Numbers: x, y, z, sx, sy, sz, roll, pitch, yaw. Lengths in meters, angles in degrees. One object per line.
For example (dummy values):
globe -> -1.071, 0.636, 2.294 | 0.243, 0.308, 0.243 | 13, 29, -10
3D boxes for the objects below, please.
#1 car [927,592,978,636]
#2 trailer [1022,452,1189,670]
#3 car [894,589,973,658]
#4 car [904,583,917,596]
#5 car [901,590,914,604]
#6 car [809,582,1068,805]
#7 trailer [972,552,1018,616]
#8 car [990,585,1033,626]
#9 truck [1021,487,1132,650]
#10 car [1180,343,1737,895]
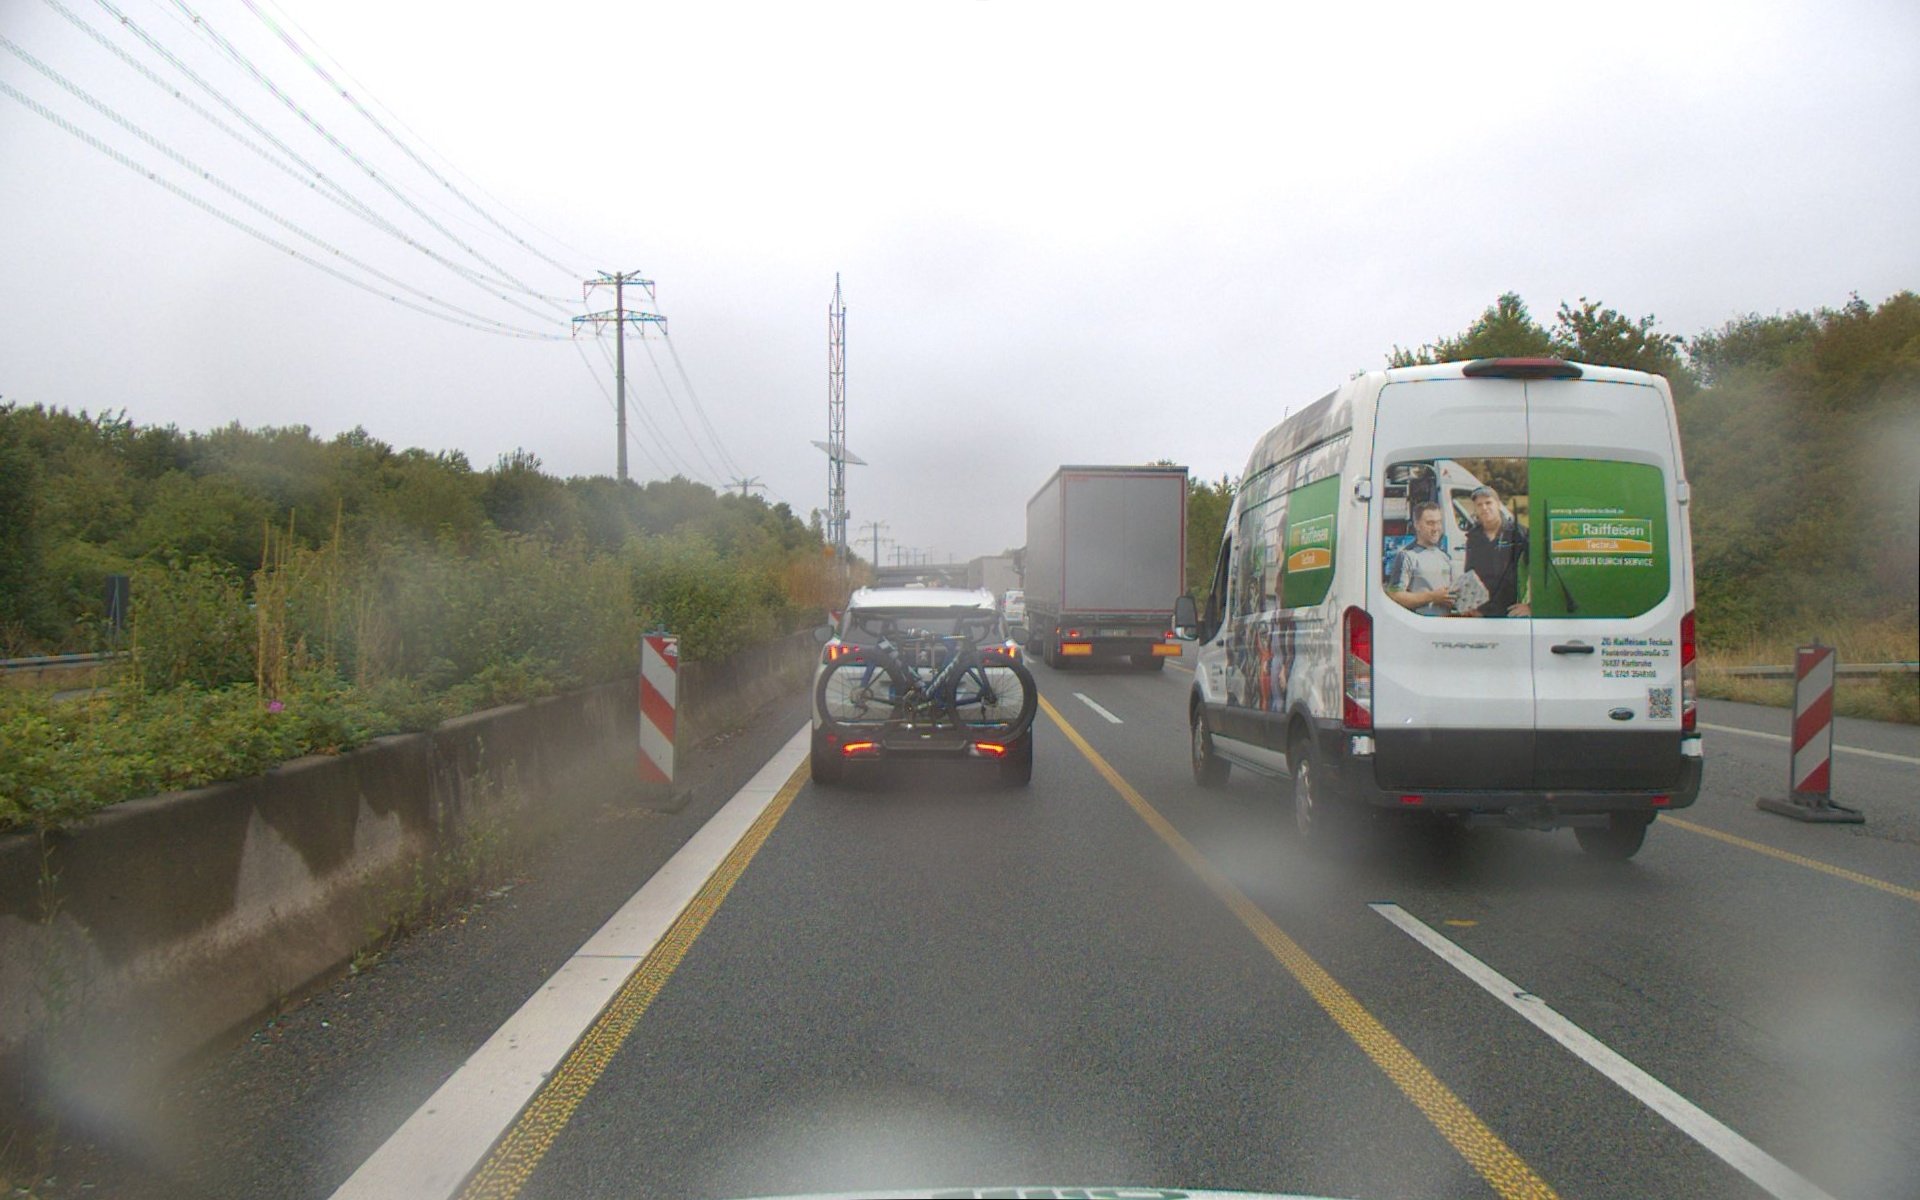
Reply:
car -> -0.313, 0.500, 61.209 | 1.812, 1.557, 3.999 | 0, 0, -1
trailer -> 3.072, -0.773, 38.864 | 2.651, 4.218, 13.730 | 0, 0, 0
car -> -0.638, 0.536, 40.015 | 1.812, 1.557, 3.999 | 0, 0, -1
car -> -7.748, -1.644, 257.977 | 1.892, 1.944, 4.000 | 0, 1, -1
car -> -7.616, -0.464, 240.225 | 1.892, 2.008, 4.000 | 0, 1, -1
car -> -0.190, 0.648, 13.996 | 1.812, 1.557, 4.767 | 0, 0, -1
trailer -> 2.344, -1.086, 114.112 | 2.638, 4.148, 13.630 | 0, 0, -1
car -> 2.429, 0.253, 78.602 | 1.792, 1.871, 4.654 | 0, 0, -1
truck -> 3.103, -0.819, 45.480 | 2.651, 4.211, 5.690 | 0, 0, 0
car -> 2.956, 0.082, 11.400 | 1.953, 2.831, 5.754 | 0, 0, -2
